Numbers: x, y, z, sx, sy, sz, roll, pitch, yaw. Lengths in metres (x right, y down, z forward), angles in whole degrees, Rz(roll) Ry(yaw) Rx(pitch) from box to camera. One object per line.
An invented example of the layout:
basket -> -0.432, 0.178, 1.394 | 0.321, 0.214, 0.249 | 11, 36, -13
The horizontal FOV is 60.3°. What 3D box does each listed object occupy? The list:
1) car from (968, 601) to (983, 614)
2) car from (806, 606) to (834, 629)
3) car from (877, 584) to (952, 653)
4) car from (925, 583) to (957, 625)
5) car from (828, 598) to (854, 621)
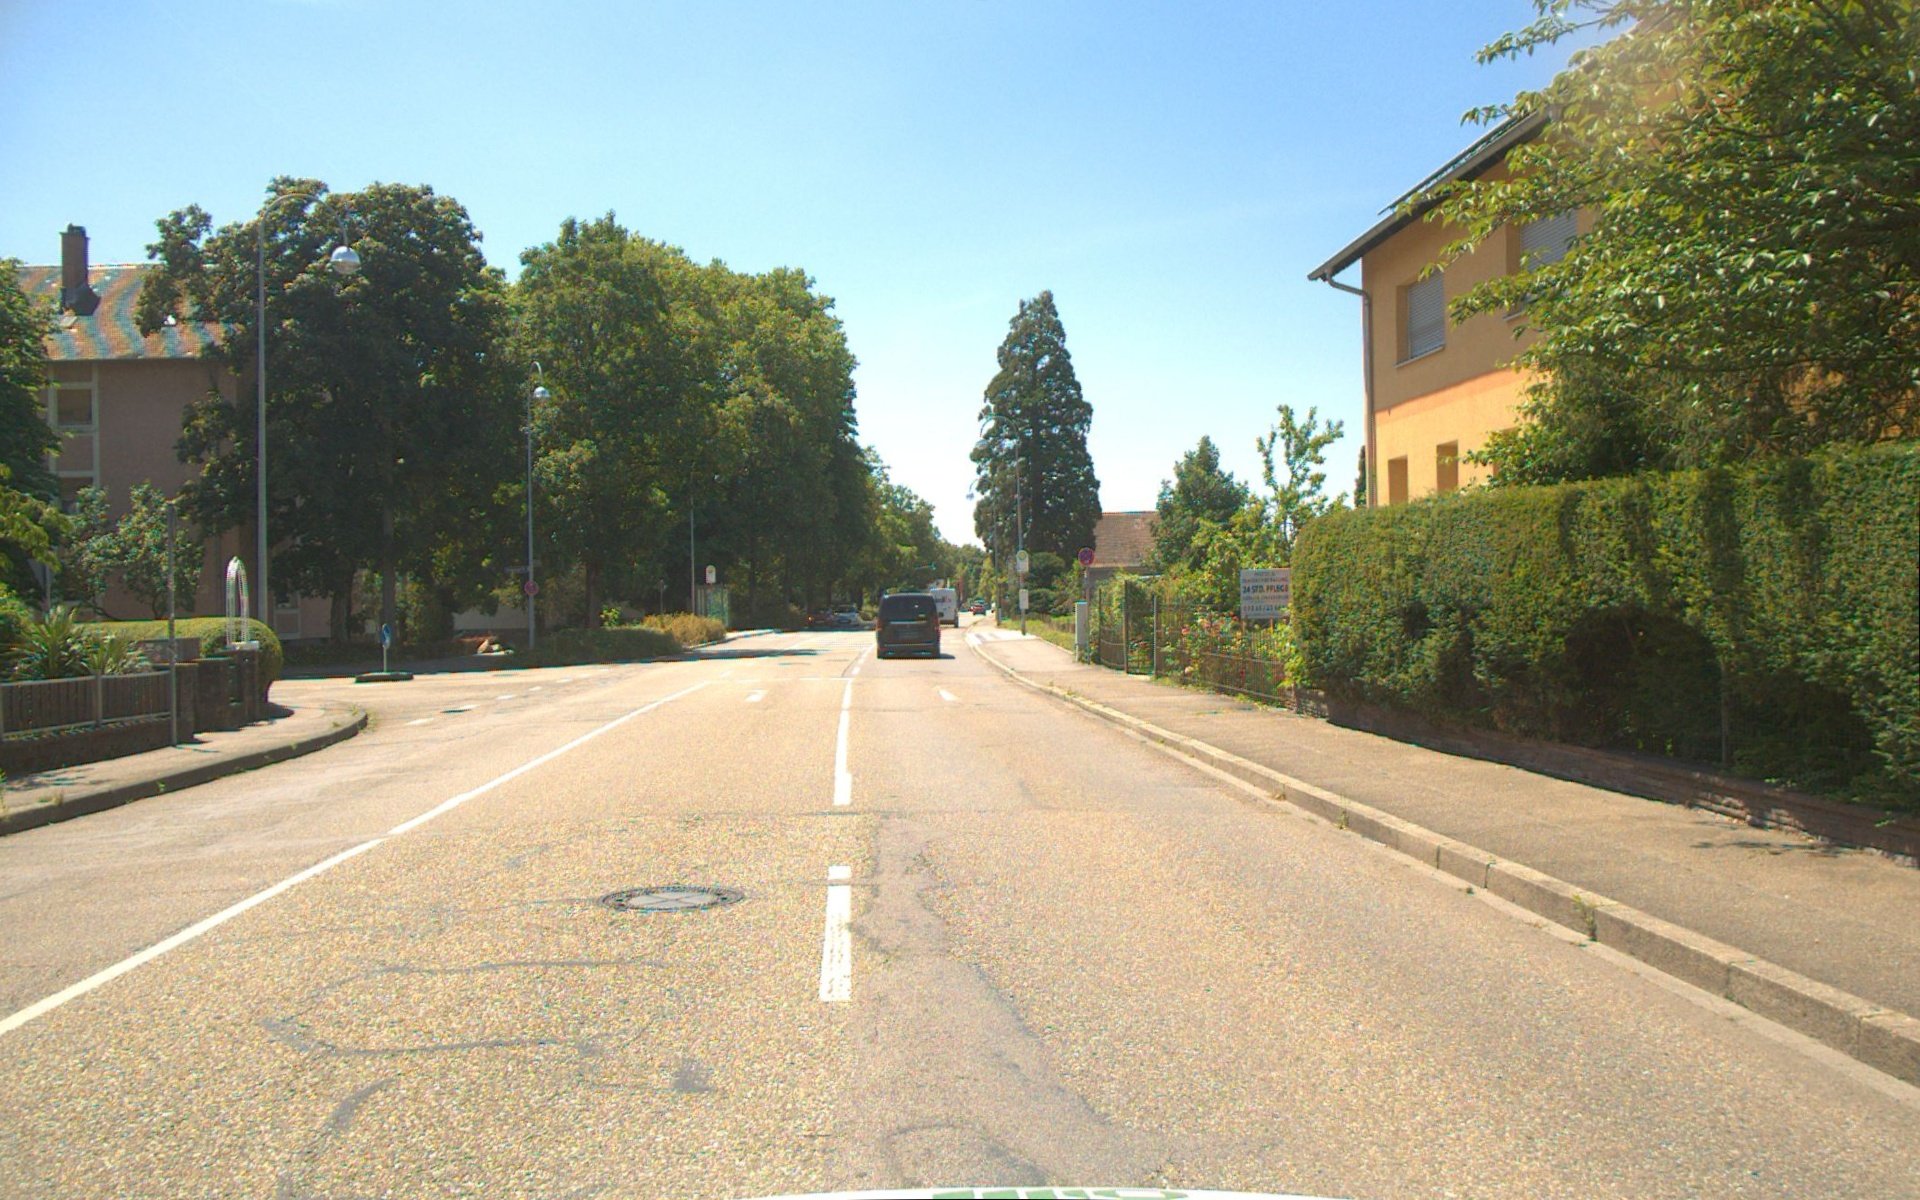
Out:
car -> 2.156, 1.044, 227.254 | 1.820, 1.671, 3.999 | 0, 1, -2
car -> -8.950, 1.099, 105.887 | 1.519, 1.476, 3.690 | 0, 0, -1
car -> -1.299, 0.499, 48.603 | 1.952, 1.926, 4.001 | 0, 1, 2
car -> -1.288, 0.249, 111.769 | 2.077, 2.724, 5.661 | 0, 1, 0
car -> -8.170, 0.653, 113.707 | 1.656, 1.485, 3.638 | 0, 1, -2
